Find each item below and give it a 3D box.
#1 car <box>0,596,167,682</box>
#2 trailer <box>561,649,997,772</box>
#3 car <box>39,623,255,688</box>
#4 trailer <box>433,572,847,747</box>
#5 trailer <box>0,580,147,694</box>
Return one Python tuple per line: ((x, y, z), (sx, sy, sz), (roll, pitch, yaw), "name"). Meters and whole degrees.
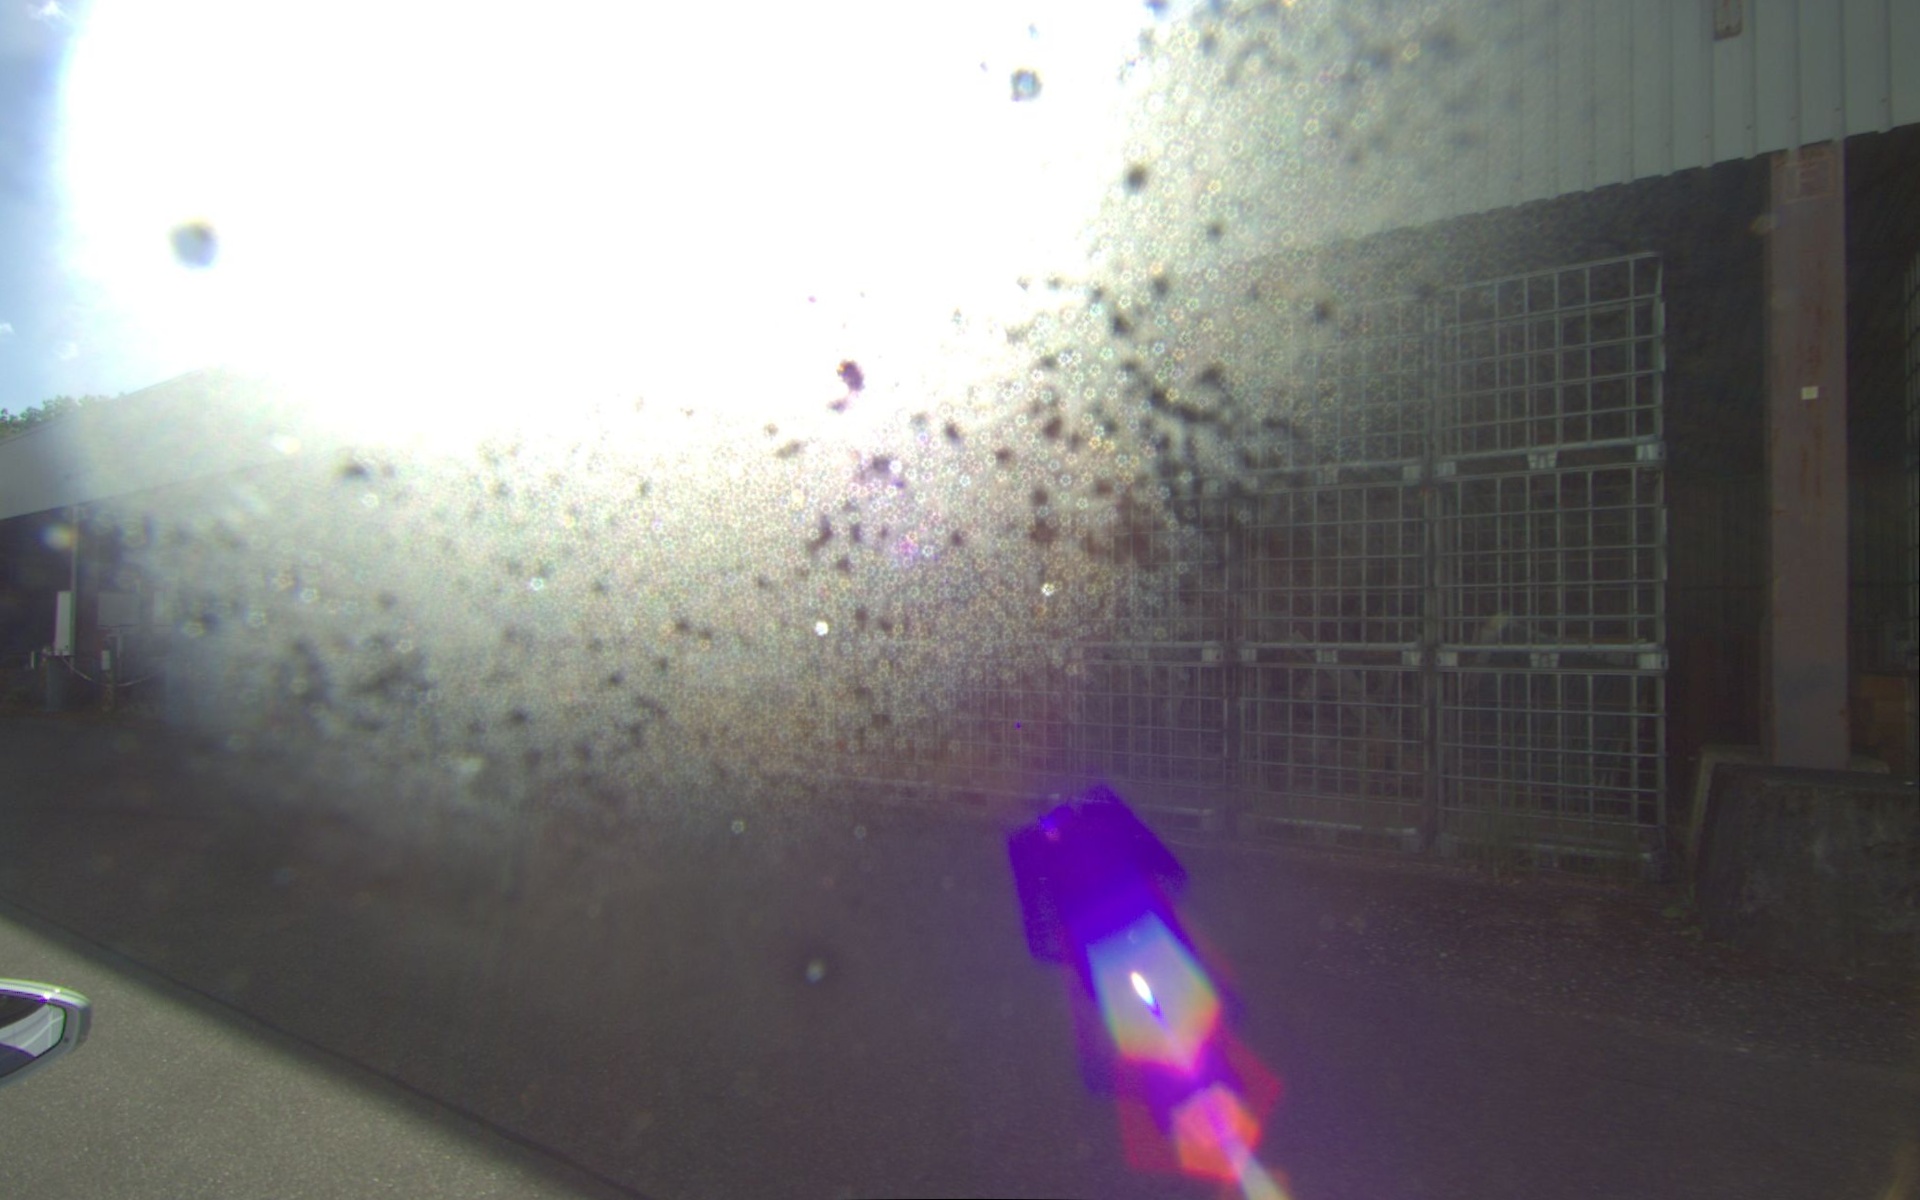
((-26.488, 1.231, 29.532), (1.890, 2.336, 4.426), (-3, -6, 34), "car")
((-1.863, 1.211, 12.682), (2.110, 1.147, 5.840), (-1, -3, 31), "trailer")
((-21.051, 1.526, 26.096), (1.662, 1.542, 4.032), (-3, -6, 34), "car")
((-4.321, 0.824, 14.709), (2.049, 2.058, 5.754), (-1, -2, 34), "trailer")
((-20.476, 0.877, 22.898), (1.703, 2.428, 2.518), (-2, -3, 34), "trailer")
